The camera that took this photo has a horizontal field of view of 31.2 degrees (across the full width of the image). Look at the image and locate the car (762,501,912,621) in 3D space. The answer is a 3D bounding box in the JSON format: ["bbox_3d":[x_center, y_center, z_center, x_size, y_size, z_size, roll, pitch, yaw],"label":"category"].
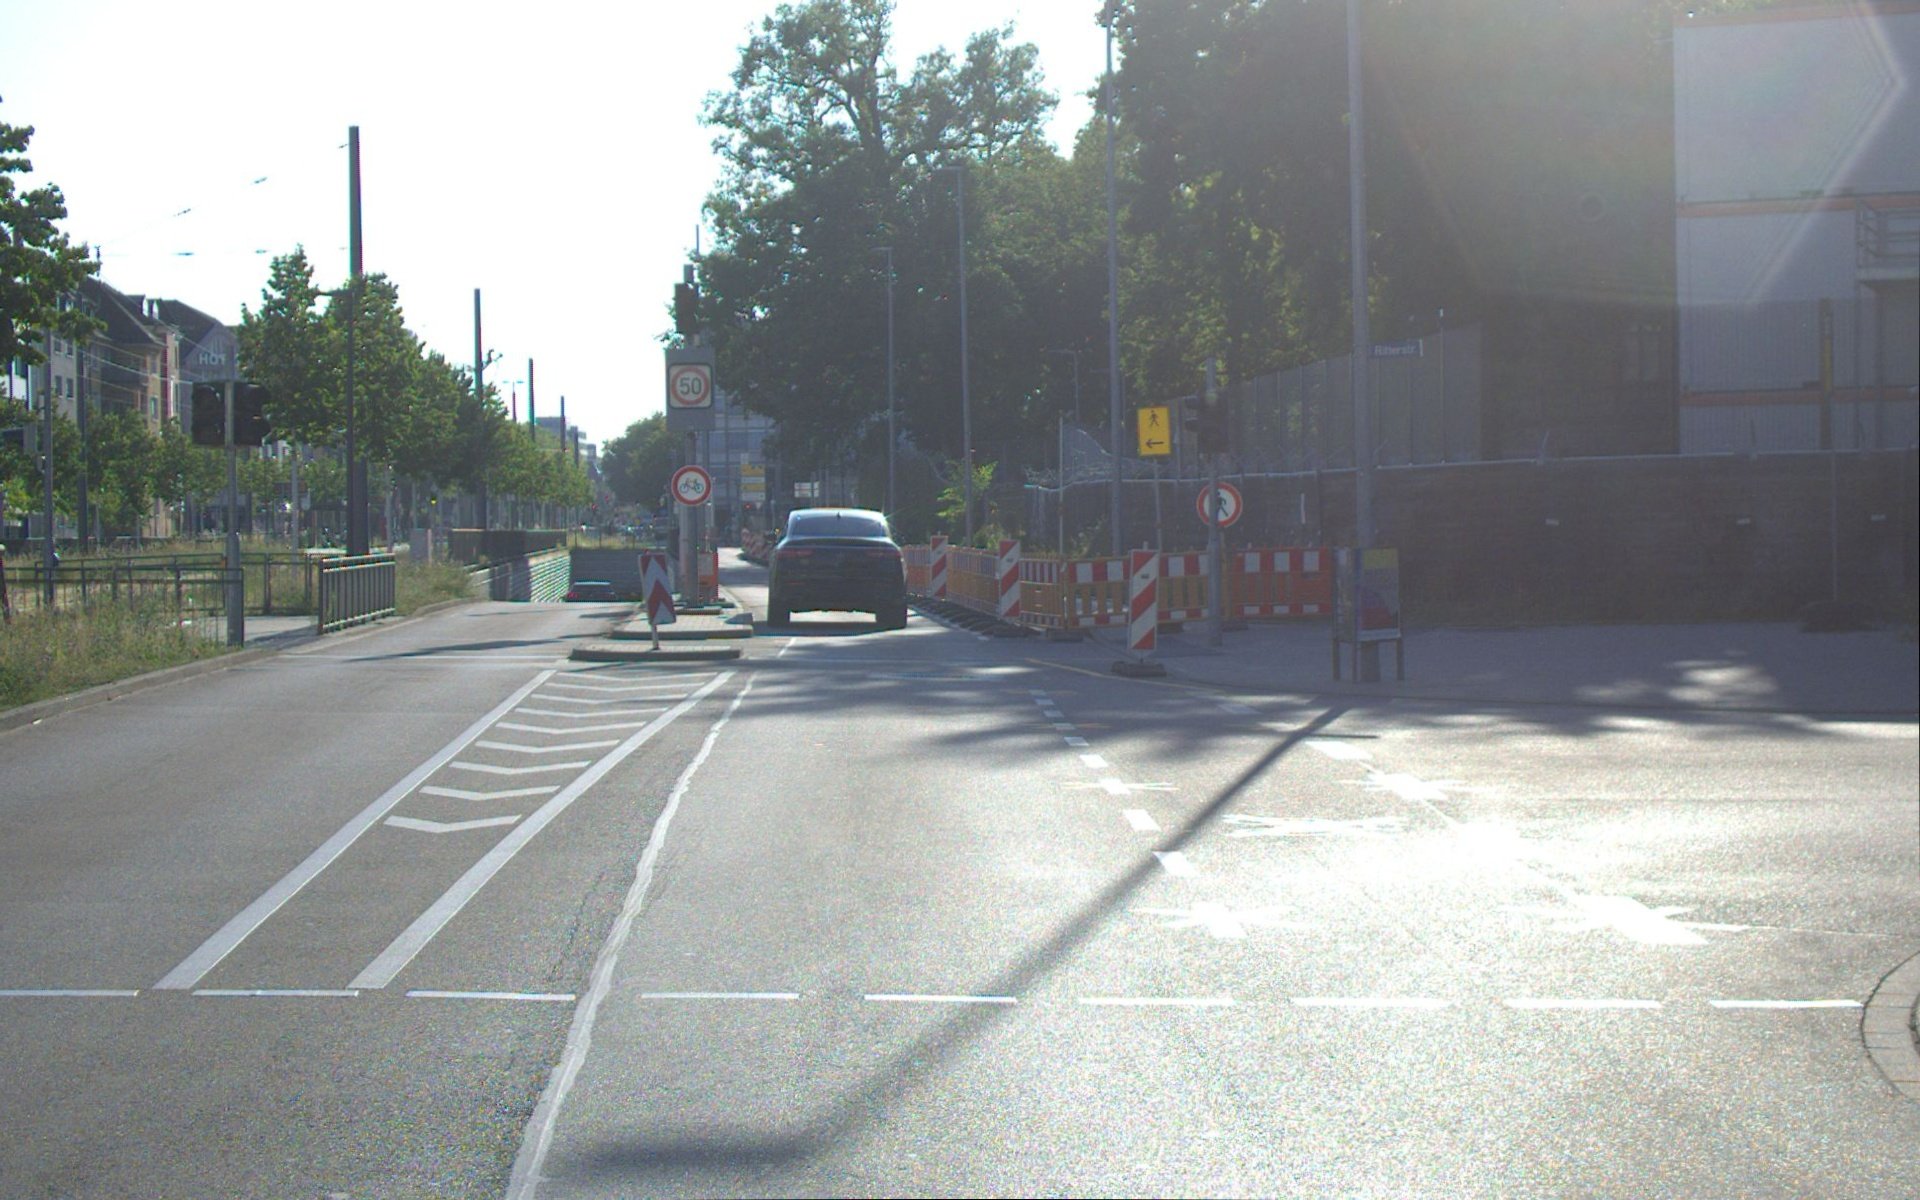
[{"bbox_3d":[-1.846,-0.571,50.471,2.005,1.653,4.001,1,1,-4],"label":"car"}]

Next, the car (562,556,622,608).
[{"bbox_3d":[-12.357,-0.621,115.608,1.826,1.653,4.001,1,1,-4],"label":"car"}]
